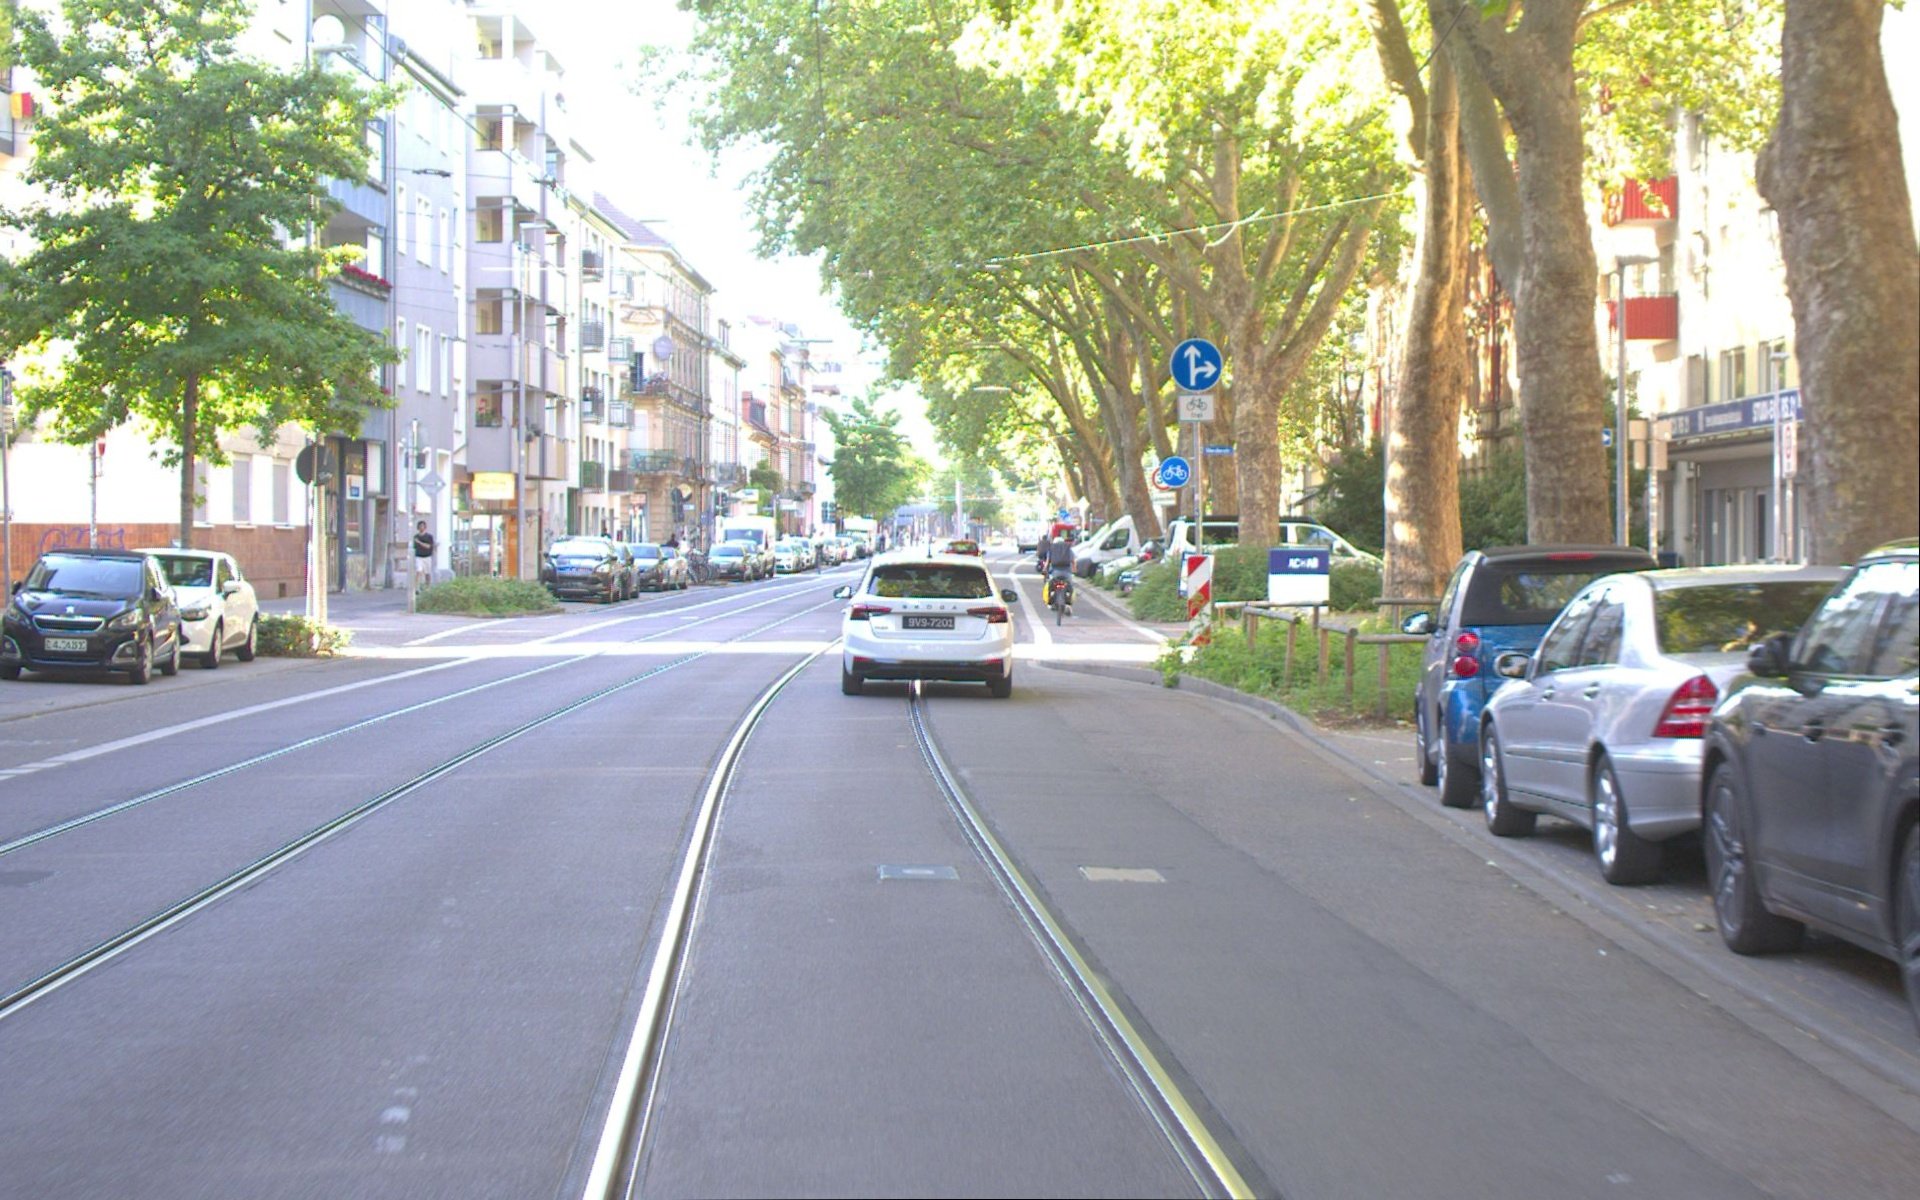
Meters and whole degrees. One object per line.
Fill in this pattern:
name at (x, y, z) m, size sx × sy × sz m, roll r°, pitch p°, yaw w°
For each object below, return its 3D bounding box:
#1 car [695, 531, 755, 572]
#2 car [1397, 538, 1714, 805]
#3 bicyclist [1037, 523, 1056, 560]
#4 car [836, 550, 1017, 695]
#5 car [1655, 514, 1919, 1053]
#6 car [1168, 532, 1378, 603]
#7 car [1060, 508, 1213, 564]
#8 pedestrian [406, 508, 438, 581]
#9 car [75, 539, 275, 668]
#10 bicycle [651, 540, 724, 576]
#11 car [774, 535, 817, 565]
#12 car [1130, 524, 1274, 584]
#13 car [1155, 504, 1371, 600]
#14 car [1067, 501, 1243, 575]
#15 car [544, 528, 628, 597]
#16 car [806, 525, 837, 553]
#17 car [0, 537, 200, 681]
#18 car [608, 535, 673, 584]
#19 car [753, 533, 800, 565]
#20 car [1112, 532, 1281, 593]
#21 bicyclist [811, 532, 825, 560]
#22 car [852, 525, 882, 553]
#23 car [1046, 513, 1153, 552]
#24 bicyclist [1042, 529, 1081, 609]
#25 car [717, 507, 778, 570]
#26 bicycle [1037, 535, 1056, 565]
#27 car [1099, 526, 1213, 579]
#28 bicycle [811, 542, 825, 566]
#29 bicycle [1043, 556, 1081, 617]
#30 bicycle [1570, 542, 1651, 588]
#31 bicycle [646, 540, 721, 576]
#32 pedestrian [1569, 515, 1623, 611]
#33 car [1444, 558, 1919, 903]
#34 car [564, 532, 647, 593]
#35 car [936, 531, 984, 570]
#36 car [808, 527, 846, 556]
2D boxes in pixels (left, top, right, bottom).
car at (-9.096, -1.889, 133.079) m, size 1.993 × 1.525 × 4.000 m, roll 0°, pitch 1°, yaw 1°
car at (3.637, 0.406, 21.397) m, size 1.564 × 1.514 × 2.910 m, roll -1°, pitch 0°, yaw 3°
bicyclist at (3.164, -2.149, 126.130) m, size 0.649 × 1.339 × 0.934 m, roll 0°, pitch 1°, yaw -1°
car at (-0.352, 0.187, 35.568) m, size 1.761 × 1.379 × 4.000 m, roll 0°, pitch 1°, yaw -1°
car at (3.739, 0.517, 11.236) m, size 1.858 × 1.598 × 4.782 m, roll -1°, pitch 0°, yaw -1°
car at (6.654, -0.698, 73.350) m, size 4.297 × 1.474 × 1.831 m, roll 0°, pitch 1°, yaw 0°
car at (7.248, -2.638, 141.521) m, size 6.130 × 2.274 × 2.529 m, roll 0°, pitch 1°, yaw -1°
pedestrian at (-13.442, -1.386, 85.906) m, size 0.664 × 1.820 × 0.965 m, roll 0°, pitch 1°, yaw -1°
car at (-9.919, 0.009, 43.732) m, size 1.713 × 1.459 × 4.377 m, roll 3°, pitch 1°, yaw -3°
bicycle at (-9.668, -1.497, 121.943) m, size 2.524 × 1.168 × 0.719 m, roll 2°, pitch -1°, yaw -5°
car at (-8.545, -2.627, 179.088) m, size 1.993 × 1.525 × 4.000 m, roll 0°, pitch 1°, yaw 1°
car at (6.875, -1.322, 98.050) m, size 3.987 × 1.674 × 1.723 m, roll 0°, pitch 1°, yaw 0°
car at (6.666, -1.069, 75.922) m, size 4.543 × 2.069 × 2.001 m, roll 0°, pitch 1°, yaw -1°
car at (6.939, -2.222, 122.907) m, size 6.130 × 2.626 × 2.529 m, roll 0°, pitch 1°, yaw -1°
car at (-9.565, -0.985, 88.155) m, size 1.702 × 1.645 × 4.242 m, roll 2°, pitch 1°, yaw -1°
car at (-9.924, -4.385, 246.255) m, size 1.993 × 2.007 × 4.000 m, roll 0°, pitch 1°, yaw 1°
car at (-9.763, 0.060, 39.071) m, size 1.713 × 1.459 × 4.001 m, roll 3°, pitch 1°, yaw -6°
car at (-9.660, -1.246, 104.112) m, size 1.653 × 1.432 × 3.837 m, roll 0°, pitch 1°, yaw -1°
car at (-8.792, -2.467, 165.128) m, size 1.993 × 1.525 × 4.000 m, roll 0°, pitch 1°, yaw 1°
car at (5.980, -0.955, 87.153) m, size 4.142 × 1.509 × 1.931 m, roll 0°, pitch 1°, yaw 0°
bicyclist at (-6.450, -2.445, 156.195) m, size 0.597 × 1.281 × 0.917 m, roll 0°, pitch 1°, yaw -2°
car at (-6.694, -4.416, 248.670) m, size 1.993 × 2.007 × 4.000 m, roll 0°, pitch 1°, yaw 1°
car at (8.144, -3.973, 201.729) m, size 6.130 × 2.274 × 2.529 m, roll 0°, pitch 1°, yaw -1°
bicyclist at (1.843, -0.573, 62.530) m, size 0.678 × 1.438 × 1.047 m, roll 0°, pitch 1°, yaw 1°
car at (-8.921, -2.606, 144.792) m, size 2.178 × 2.588 × 4.949 m, roll 0°, pitch 1°, yaw 1°
bicycle at (3.172, -1.843, 126.123) m, size 0.649 × 1.067 × 1.583 m, roll 0°, pitch 1°, yaw -1°
car at (6.308, -1.532, 110.673) m, size 3.634 × 1.660 × 1.822 m, roll 0°, pitch 1°, yaw 3°
bicycle at (-6.451, -2.085, 156.133) m, size 0.605 × 1.067 × 1.583 m, roll 0°, pitch 1°, yaw -2°
bicycle at (1.849, -0.257, 62.540) m, size 0.681 × 1.067 × 1.781 m, roll 0°, pitch 1°, yaw 1°
bicycle at (15.740, -0.846, 83.166) m, size 1.791 × 1.038 × 0.618 m, roll -2°, pitch 1°, yaw -3°
bicycle at (-9.739, -1.484, 121.061) m, size 2.525 × 1.168 × 0.883 m, roll 2°, pitch -1°, yaw -39°
pedestrian at (12.395, -0.724, 67.055) m, size 0.766 × 1.860 × 1.189 m, roll 0°, pitch 1°, yaw -3°
car at (3.730, 0.533, 16.858) m, size 1.816 × 1.431 × 4.603 m, roll -1°, pitch 0°, yaw -3°
car at (-9.596, -1.048, 93.264) m, size 1.702 × 1.539 × 4.242 m, roll 2°, pitch 1°, yaw 1°
car at (0.016, -1.941, 133.496) m, size 1.761 × 1.470 × 4.000 m, roll 0°, pitch 1°, yaw 1°
car at (-7.763, -3.417, 201.107) m, size 1.993 × 1.634 × 4.000 m, roll 1°, pitch 1°, yaw 1°
